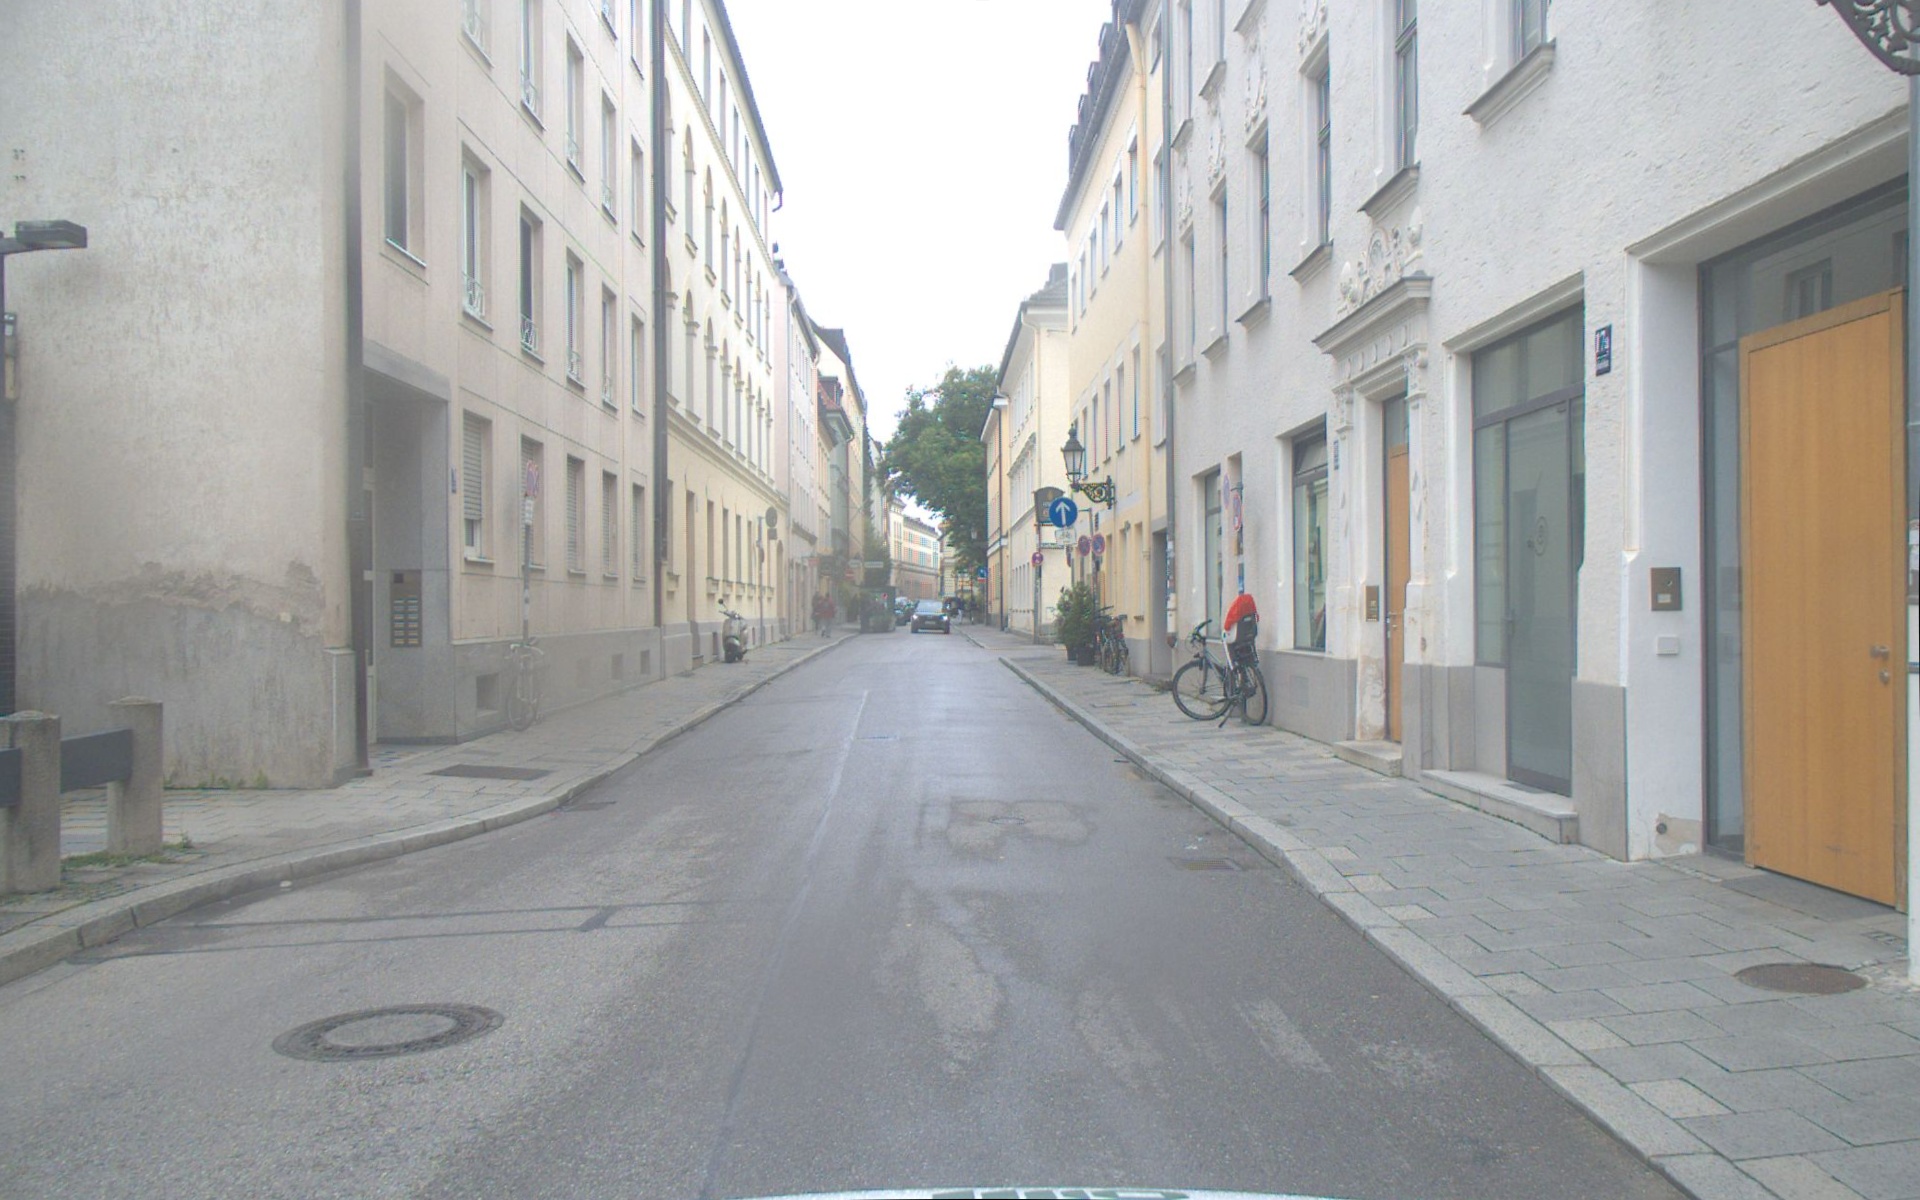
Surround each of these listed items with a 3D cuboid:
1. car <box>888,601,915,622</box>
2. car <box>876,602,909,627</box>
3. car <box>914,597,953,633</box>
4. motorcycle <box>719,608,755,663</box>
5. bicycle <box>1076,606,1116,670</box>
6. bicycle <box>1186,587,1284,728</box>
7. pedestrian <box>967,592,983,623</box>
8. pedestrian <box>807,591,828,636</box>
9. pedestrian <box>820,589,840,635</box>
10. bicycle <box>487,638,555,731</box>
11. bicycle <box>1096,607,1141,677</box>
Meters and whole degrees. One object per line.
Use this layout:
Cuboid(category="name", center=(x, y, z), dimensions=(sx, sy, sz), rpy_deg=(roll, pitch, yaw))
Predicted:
Cuboid(category="car", center=(-4.282, 0.795, 120.544), dimensions=(1.742, 1.492, 3.542), rpy_deg=(1, 0, 1))
Cuboid(category="car", center=(-4.078, 0.880, 100.417), dimensions=(1.742, 1.492, 3.663), rpy_deg=(1, 0, 1))
Cuboid(category="car", center=(-1.256, 0.686, 77.419), dimensions=(1.775, 1.622, 3.999), rpy_deg=(0, 0, -2))
Cuboid(category="motorcycle", center=(-5.008, 0.781, 37.146), dimensions=(0.590, 1.194, 1.708), rpy_deg=(0, 0, -1))
Cuboid(category="bicycle", center=(2.580, 0.704, 31.498), dimensions=(0.554, 1.156, 1.684), rpy_deg=(-2, 0, 0))
Cuboid(category="bicycle", center=(2.991, 0.592, 18.203), dimensions=(0.698, 1.420, 2.122), rpy_deg=(-3, 0, 1))
Cuboid(category="pedestrian", center=(0.890, 0.454, 98.224), dimensions=(0.862, 1.833, 1.046), rpy_deg=(1, 0, -1))
Cuboid(category="pedestrian", center=(-5.734, 0.547, 66.706), dimensions=(0.793, 1.786, 0.989), rpy_deg=(1, 1, -4))
Cuboid(category="pedestrian", center=(-4.980, 0.471, 63.404), dimensions=(0.750, 1.738, 0.785), rpy_deg=(-1, 0, -4))
Cuboid(category="bicycle", center=(-5.003, 0.946, 18.917), dimensions=(0.313, 0.960, 1.574), rpy_deg=(2, 0, 0))
Cuboid(category="bicycle", center=(2.793, 0.718, 29.284), dimensions=(0.554, 1.156, 1.987), rpy_deg=(-2, 0, 0))
